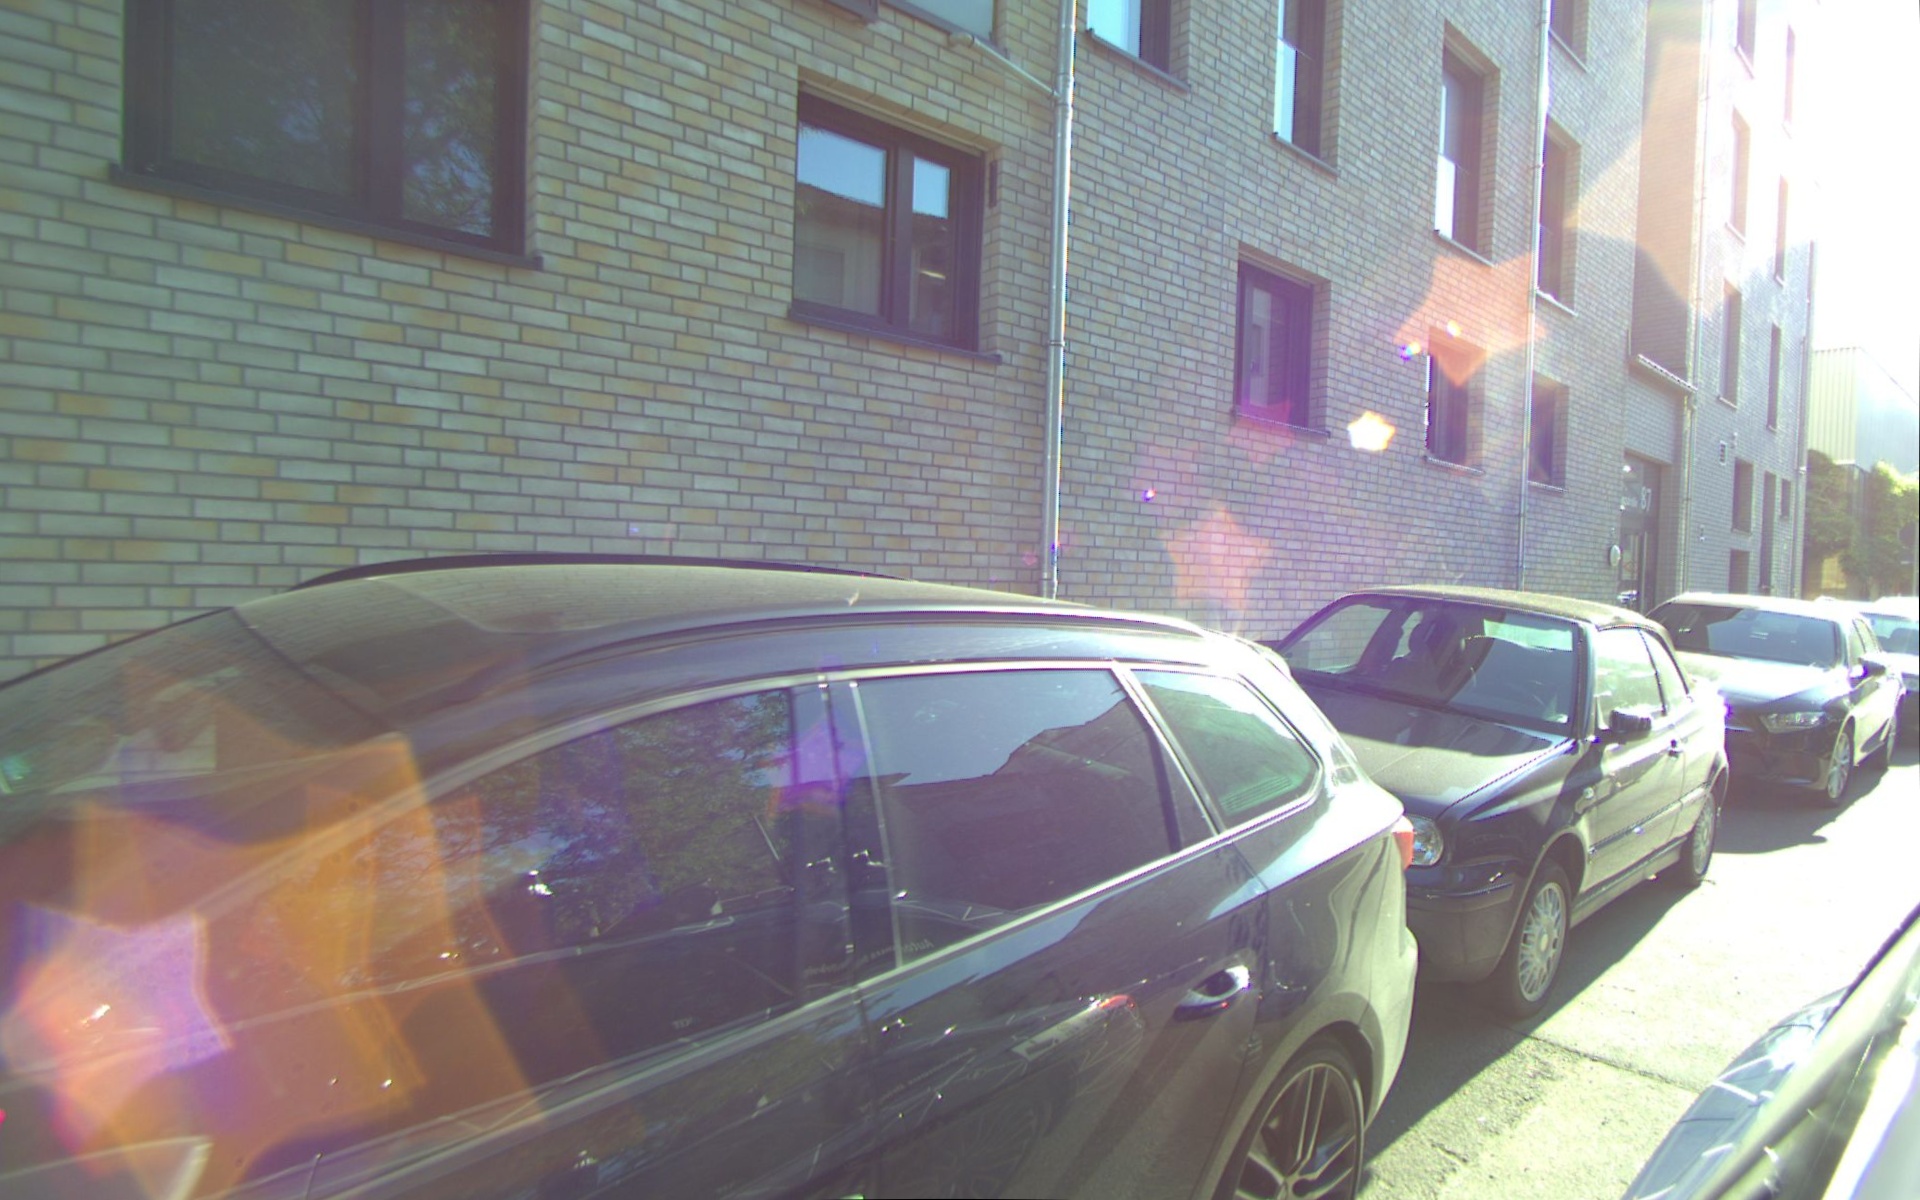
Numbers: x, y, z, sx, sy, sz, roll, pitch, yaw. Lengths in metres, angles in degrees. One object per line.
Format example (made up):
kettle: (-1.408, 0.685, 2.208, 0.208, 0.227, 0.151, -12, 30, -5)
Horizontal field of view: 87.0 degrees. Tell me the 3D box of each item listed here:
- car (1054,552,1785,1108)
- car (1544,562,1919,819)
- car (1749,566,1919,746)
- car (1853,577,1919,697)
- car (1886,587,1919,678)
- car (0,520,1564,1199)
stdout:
car: (2.495, 0.629, 4.892, 4.147, 1.534, 1.666, 0, 4, -43)
car: (6.857, 0.565, 8.650, 4.544, 1.547, 1.730, 0, 5, -41)
car: (10.902, 0.542, 11.946, 4.756, 1.755, 1.670, 0, 2, -42)
car: (14.850, 0.549, 15.264, 4.270, 1.611, 1.653, 1, 3, -44)
car: (18.040, 0.580, 18.286, 3.594, 1.542, 1.728, 0, 2, -45)
car: (-0.739, 0.650, 1.653, 4.640, 1.485, 1.699, 0, 3, -43)
